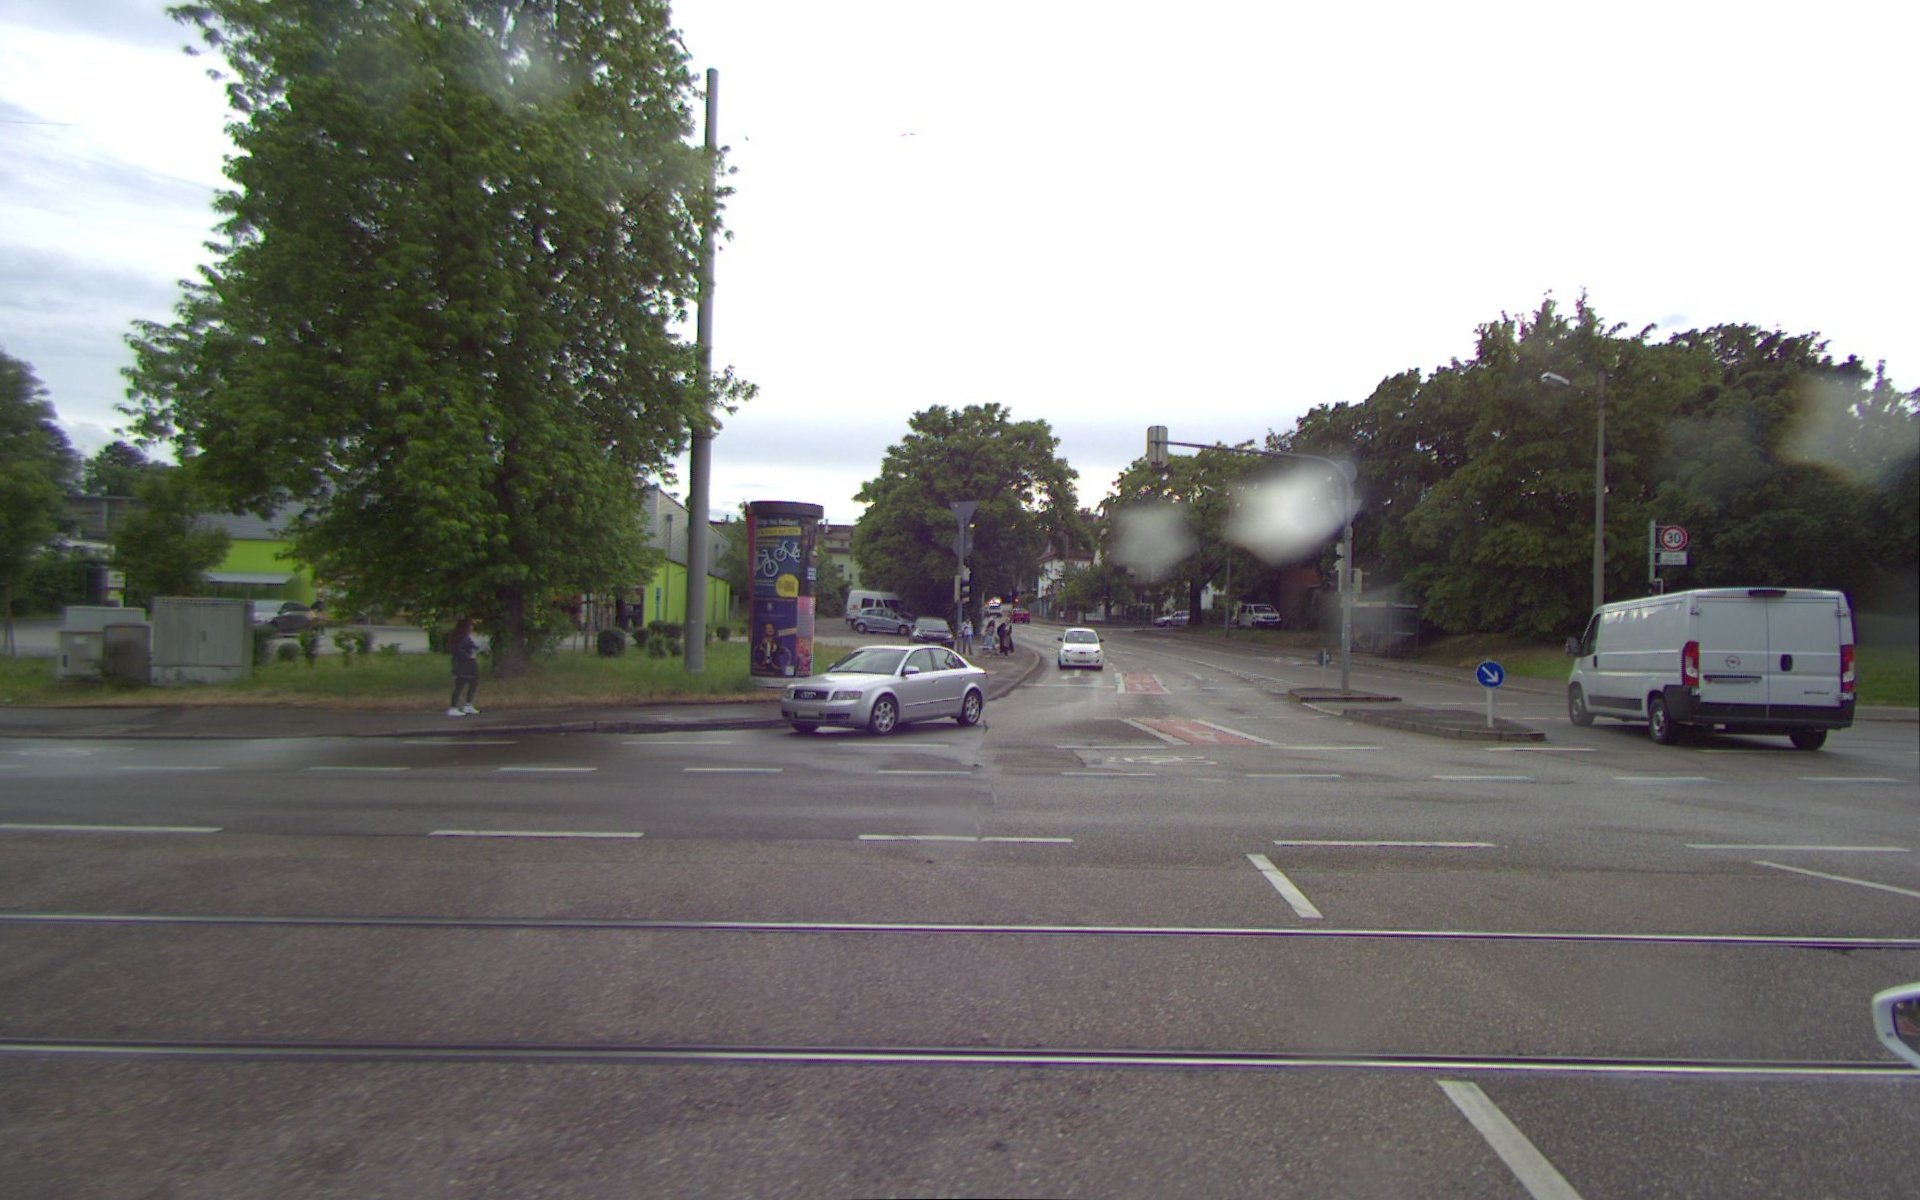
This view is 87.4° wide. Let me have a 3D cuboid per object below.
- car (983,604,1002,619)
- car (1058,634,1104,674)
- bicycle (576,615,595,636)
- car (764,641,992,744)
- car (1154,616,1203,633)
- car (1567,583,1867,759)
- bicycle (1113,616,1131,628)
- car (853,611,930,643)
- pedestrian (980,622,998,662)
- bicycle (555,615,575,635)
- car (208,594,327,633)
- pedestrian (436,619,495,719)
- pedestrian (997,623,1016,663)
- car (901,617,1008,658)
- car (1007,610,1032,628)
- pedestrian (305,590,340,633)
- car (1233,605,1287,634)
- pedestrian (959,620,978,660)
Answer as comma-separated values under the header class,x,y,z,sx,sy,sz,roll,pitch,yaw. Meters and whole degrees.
class,x,y,z,sx,sy,sz,roll,pitch,yaw
car,3.828,1.355,119.790,1.738,1.531,3.751,2,0,-6
car,4.849,2.097,39.891,1.658,1.502,4.003,0,-2,9
bicycle,-19.039,1.288,51.102,0.524,0.995,1.613,1,0,-6
car,-1.195,1.454,16.783,1.563,1.455,4.420,0,-3,30
car,19.488,2.202,89.546,3.927,1.441,1.702,0,-1,-9
car,11.594,0.978,15.926,2.110,2.314,5.065,0,-1,16
bicycle,15.012,2.060,93.063,1.545,1.130,0.457,1,1,-3
car,-4.105,1.597,60.183,4.045,1.563,2.000,4,1,20
pedestrian,1.234,1.759,42.619,0.594,1.623,0.678,3,1,8
bicycle,-20.008,1.270,50.881,0.524,0.995,1.613,1,0,-6
car,-26.221,0.495,38.228,1.742,1.363,4.375,2,0,-5
pedestrian,-8.056,1.111,16.389,0.657,1.552,0.591,3,1,-11
pedestrian,1.961,1.799,42.180,0.644,1.623,0.678,3,1,8
car,-0.206,1.603,42.334,4.189,1.468,1.737,4,0,-32
car,5.901,1.915,100.774,1.808,1.554,4.199,2,1,-6
pedestrian,-24.647,0.432,38.838,0.744,1.618,0.804,3,1,2
car,21.215,1.343,71.340,1.962,1.829,5.144,3,0,-4
pedestrian,0.347,1.667,42.309,0.644,1.623,0.678,3,1,8
